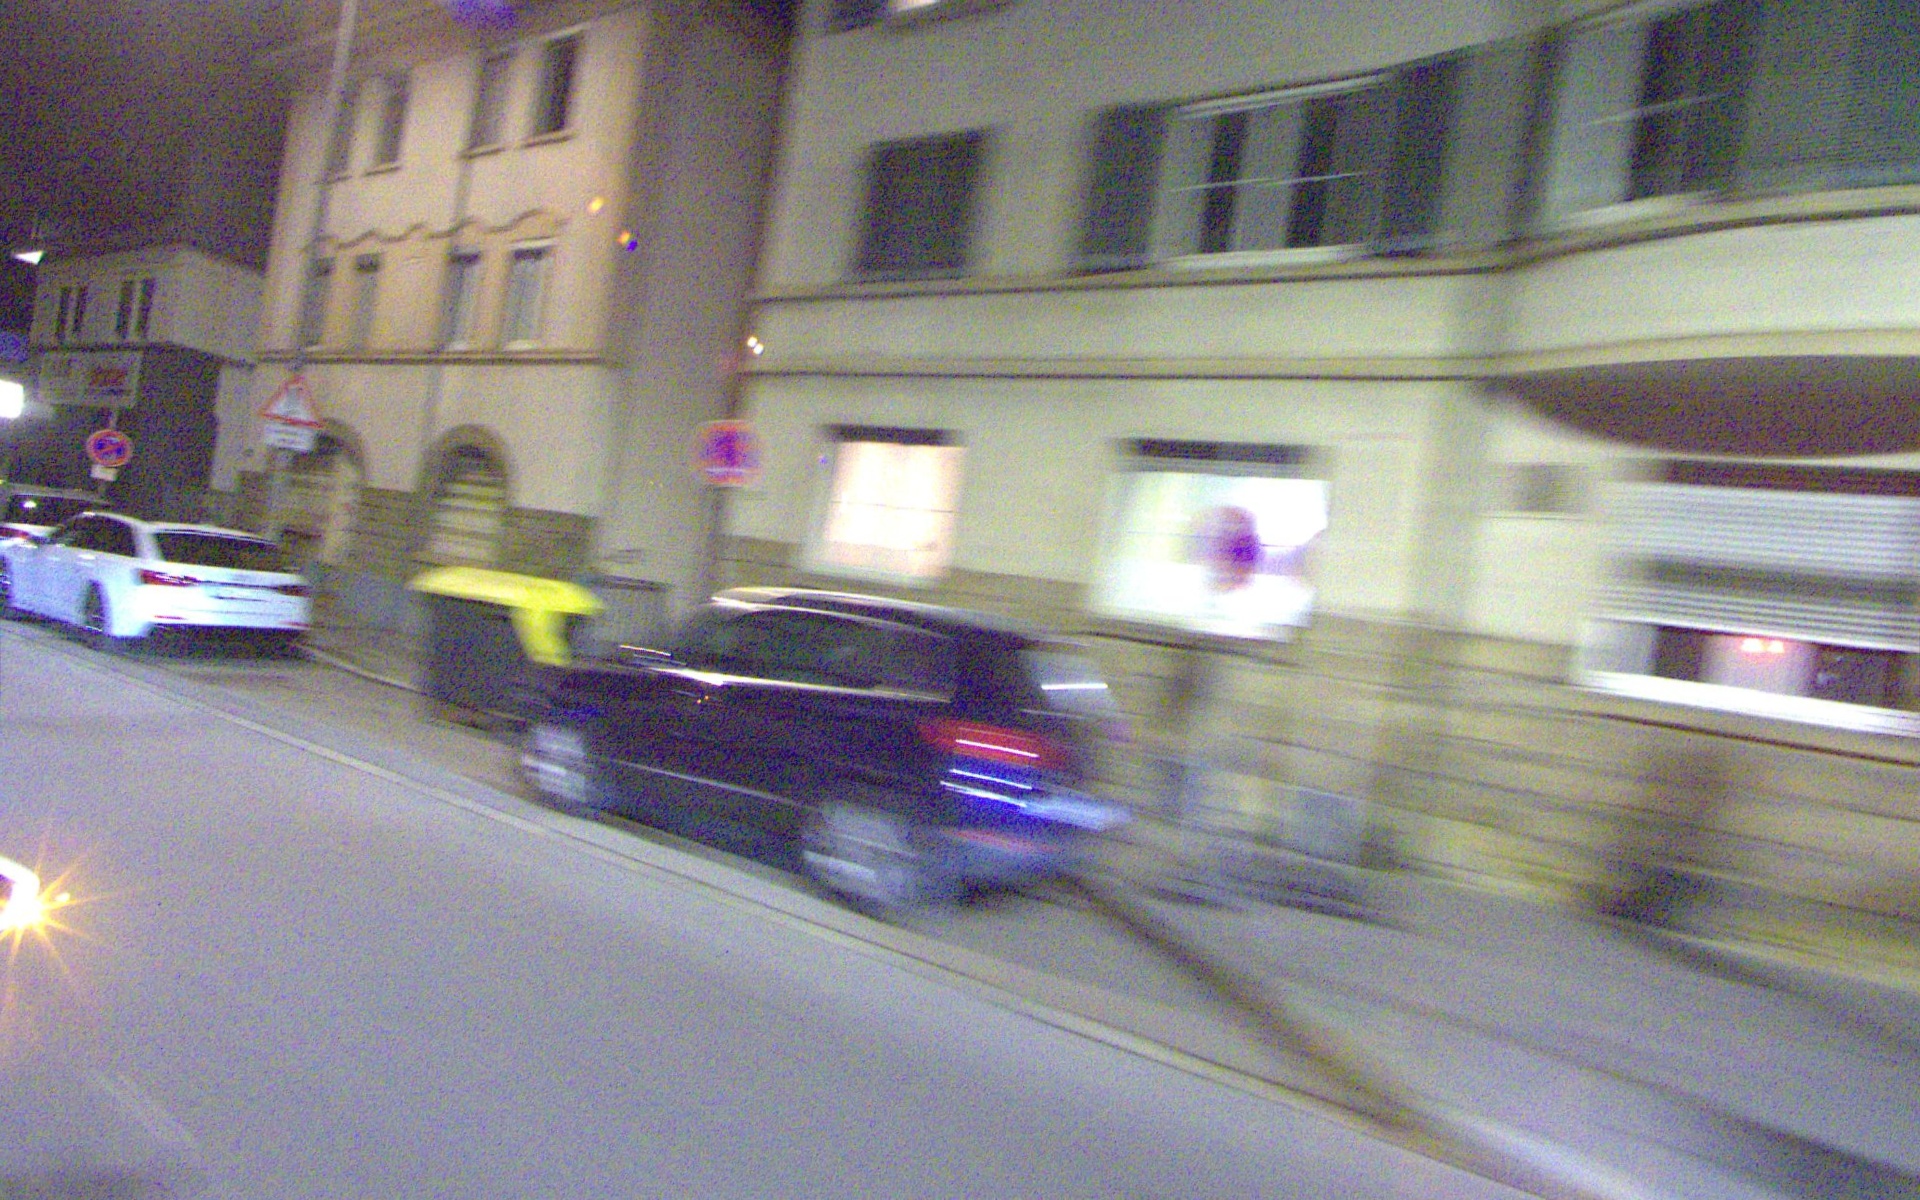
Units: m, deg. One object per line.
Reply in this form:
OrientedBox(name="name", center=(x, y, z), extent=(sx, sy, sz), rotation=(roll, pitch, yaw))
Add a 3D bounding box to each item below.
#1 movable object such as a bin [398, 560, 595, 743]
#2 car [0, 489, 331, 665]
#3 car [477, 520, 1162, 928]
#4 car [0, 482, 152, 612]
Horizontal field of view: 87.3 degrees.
OrientedBox(name="movable object such as a bin", center=(-4.283, 0.458, 9.314), extent=(1.315, 1.450, 0.939), rotation=(7, 1, 29))
OrientedBox(name="car", center=(-9.734, -0.326, 11.993), extent=(4.753, 1.527, 1.746), rotation=(7, 0, 31))
OrientedBox(name="car", center=(-1.049, 0.574, 6.657), extent=(4.187, 1.704, 1.746), rotation=(7, 0, 31))
OrientedBox(name="car", center=(-13.872, -0.901, 14.764), extent=(4.140, 1.585, 1.746), rotation=(7, 0, 31))
